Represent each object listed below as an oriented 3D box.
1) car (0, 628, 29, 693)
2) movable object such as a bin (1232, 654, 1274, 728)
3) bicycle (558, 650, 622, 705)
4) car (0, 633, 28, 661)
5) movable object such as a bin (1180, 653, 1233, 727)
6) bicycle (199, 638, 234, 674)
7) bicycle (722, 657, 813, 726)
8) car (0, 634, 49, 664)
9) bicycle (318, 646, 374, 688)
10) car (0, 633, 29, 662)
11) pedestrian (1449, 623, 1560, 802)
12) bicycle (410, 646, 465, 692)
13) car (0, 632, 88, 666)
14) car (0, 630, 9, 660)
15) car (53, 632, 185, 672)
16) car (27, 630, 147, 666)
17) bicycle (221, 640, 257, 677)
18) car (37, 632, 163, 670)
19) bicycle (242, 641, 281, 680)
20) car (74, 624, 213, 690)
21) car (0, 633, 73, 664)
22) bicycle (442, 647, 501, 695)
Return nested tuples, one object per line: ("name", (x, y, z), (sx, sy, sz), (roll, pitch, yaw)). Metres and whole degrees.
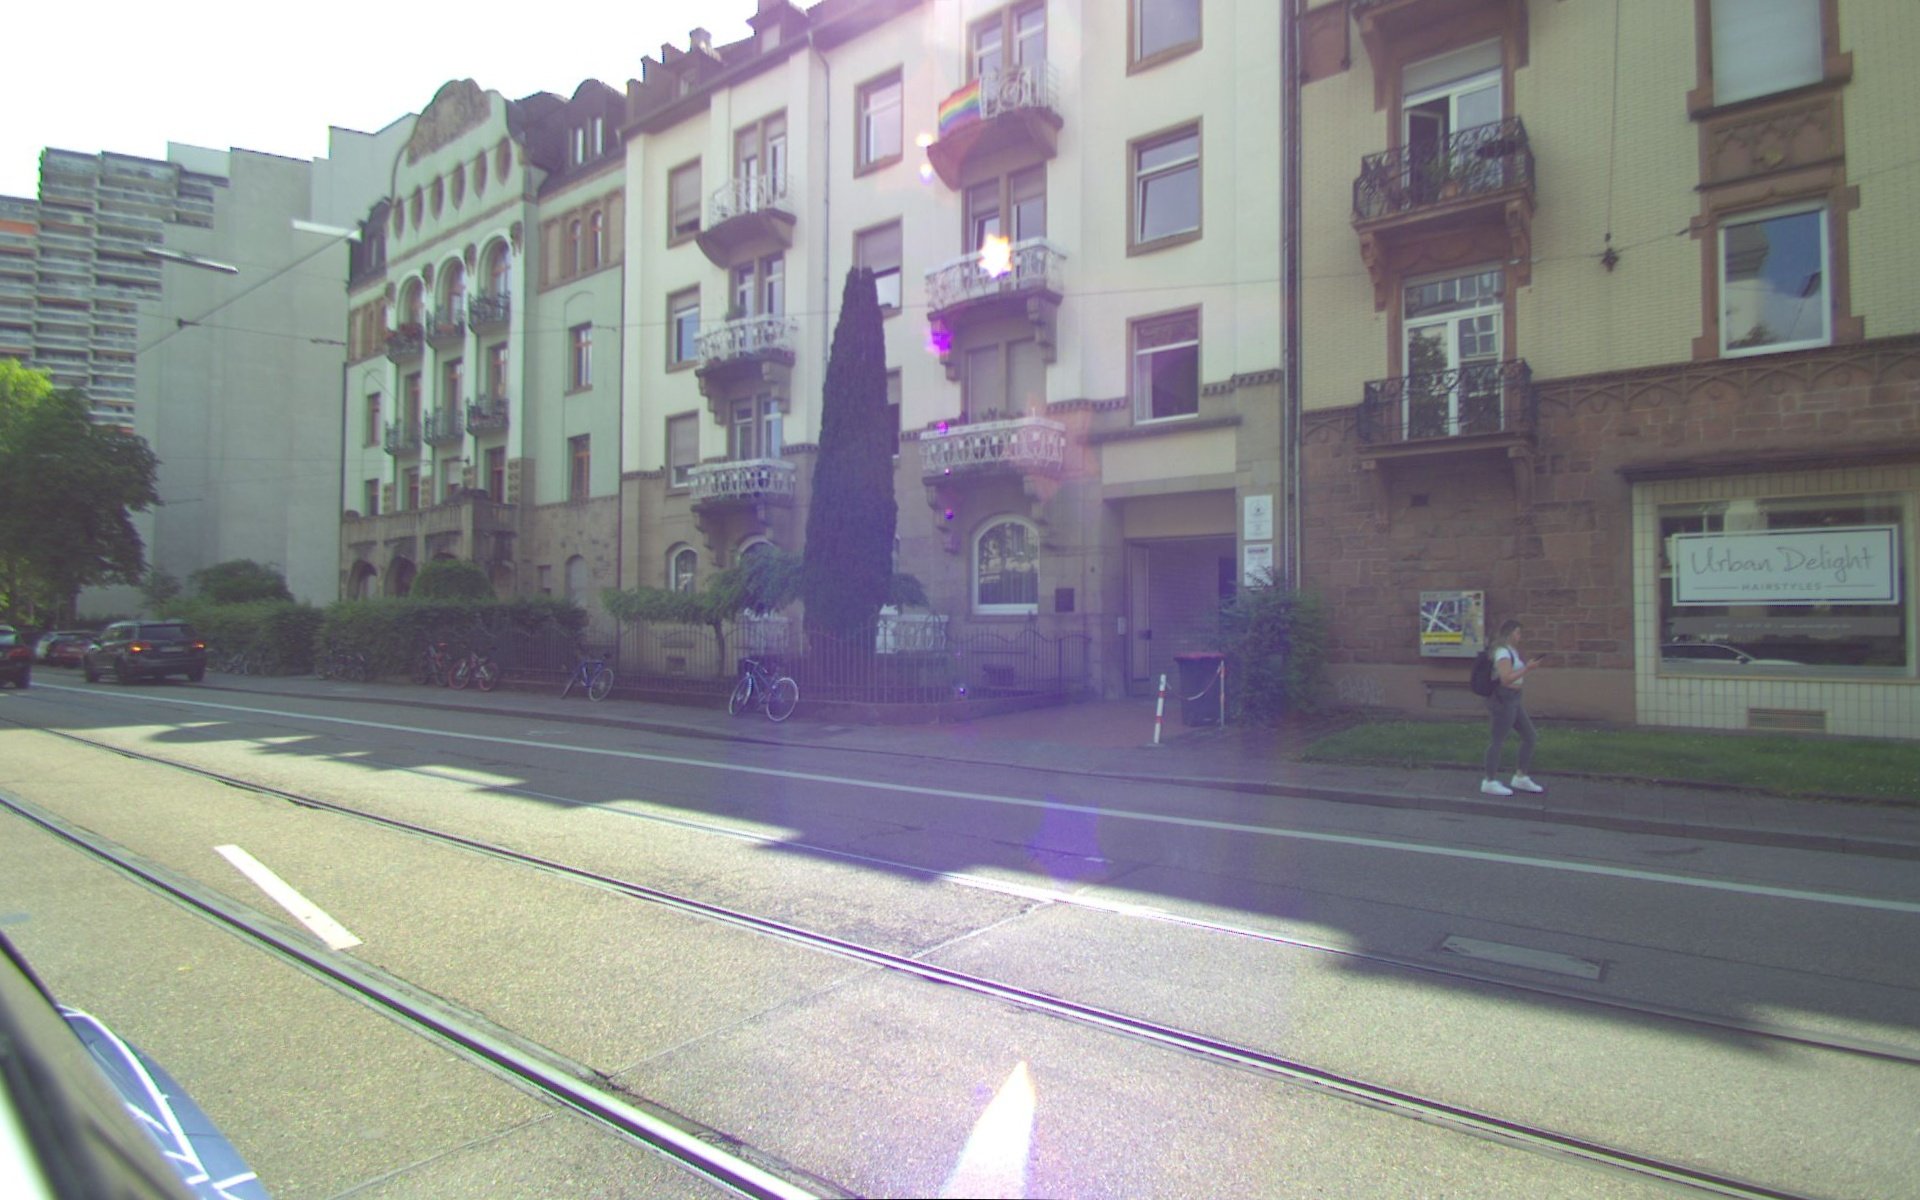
("car", (-24.573, 1.454, 24.868), (4.061, 1.530, 1.740), (-1, -3, 37))
("movable object such as a bin", (4.230, 1.310, 14.639), (0.531, 1.037, 0.475), (0, -2, 11))
("bicycle", (-7.211, 1.483, 19.672), (0.461, 1.003, 1.788), (2, -3, -45))
("car", (-54.084, 2.577, 55.755), (3.938, 1.519, 2.002), (2, -3, -42))
("movable object such as a bin", (3.560, 1.296, 14.649), (0.697, 1.037, 0.475), (0, -2, 11))
("bicycle", (-24.238, 1.813, 32.988), (1.785, 1.144, 0.462), (-2, -3, 40))
("bicycle", (-3.137, 1.451, 16.372), (0.461, 1.003, 1.980), (2, -3, -43))
("car", (-49.201, 2.473, 51.672), (3.938, 1.519, 2.002), (2, -3, -42))
("bicycle", (-15.690, 1.695, 25.839), (1.979, 1.003, 0.597), (-2, -3, 40))
("car", (-51.893, 2.502, 53.453), (3.938, 1.519, 2.002), (2, -3, -42))
("pedestrian", (5.030, 0.997, 9.354), (0.764, 1.553, 0.749), (-2, -3, 39))
("bicycle", (-12.215, 1.593, 23.630), (1.785, 1.003, 0.462), (-2, -3, 40))
("car", (-44.061, 2.308, 48.048), (3.938, 1.519, 2.002), (2, -3, -42))
("car", (-56.985, 2.555, 57.700), (3.938, 1.695, 2.002), (2, -3, -42))
("car", (-33.456, 2.035, 40.321), (3.938, 1.519, 2.002), (2, -3, -42))
("car", (-38.747, 2.112, 44.986), (3.938, 1.519, 2.002), (2, -3, -42))
("bicycle", (-22.582, 1.817, 31.699), (1.785, 1.144, 0.462), (-2, -3, 40))
("car", (-36.140, 2.117, 42.574), (3.938, 1.519, 2.002), (2, -3, -42))
("bicycle", (-21.056, 1.799, 30.498), (1.785, 1.144, 0.462), (-2, -3, 40))
("car", (-22.791, 1.539, 28.220), (4.392, 1.708, 1.899), (-1, -2, 36))
("car", (-46.518, 2.384, 50.024), (3.938, 1.519, 2.002), (2, -3, -42))
("bicycle", (-10.799, 1.557, 22.367), (1.785, 1.003, 0.462), (-2, -3, 40))
